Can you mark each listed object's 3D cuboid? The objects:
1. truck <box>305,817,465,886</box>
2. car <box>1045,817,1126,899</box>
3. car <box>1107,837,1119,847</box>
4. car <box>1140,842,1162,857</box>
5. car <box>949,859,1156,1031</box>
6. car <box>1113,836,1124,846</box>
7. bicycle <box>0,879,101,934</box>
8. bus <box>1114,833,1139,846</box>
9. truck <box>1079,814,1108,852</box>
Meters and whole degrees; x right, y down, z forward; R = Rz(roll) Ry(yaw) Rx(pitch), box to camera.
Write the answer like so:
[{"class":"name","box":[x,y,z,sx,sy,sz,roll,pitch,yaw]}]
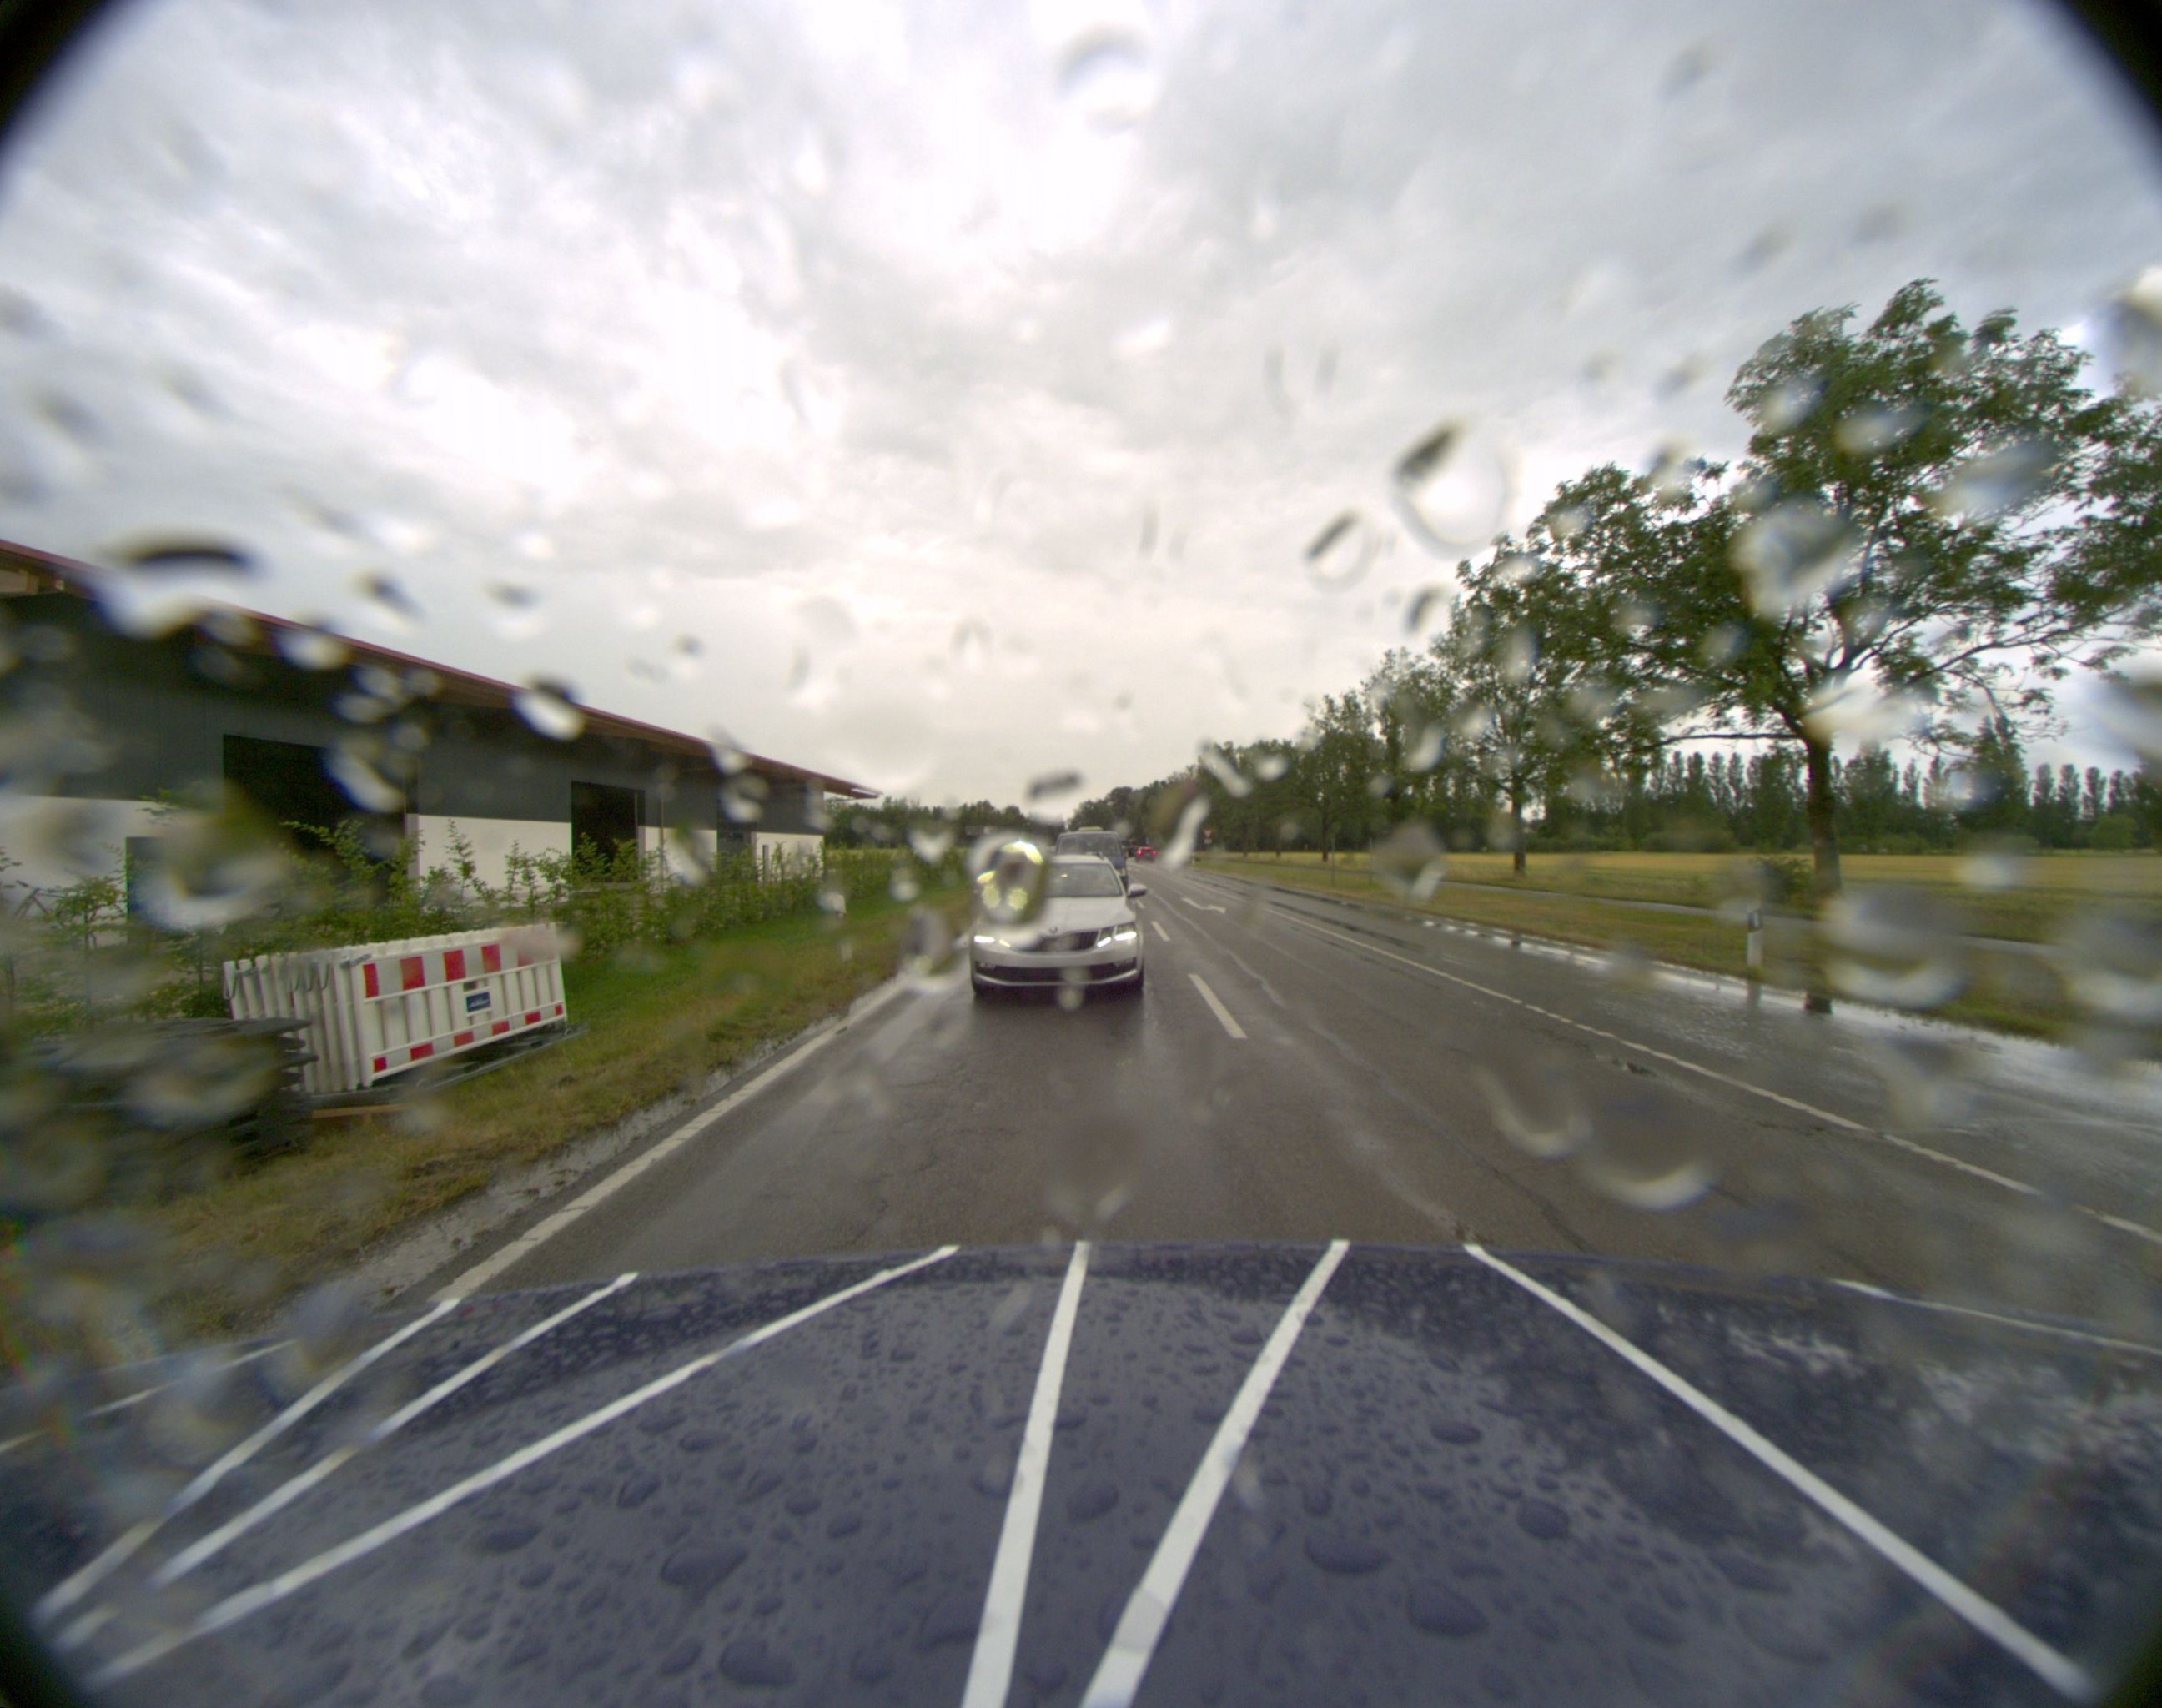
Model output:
[{"class":"truck","box":[-32.551,-0.172,35.859,2.496,2.996,5.343,0,1,1]},{"class":"car","box":[0.137,0.056,19.927,1.892,1.939,3.999,0,1,1]},{"class":"car","box":[5.901,-2.187,139.431,1.921,1.851,4.683,1,2,0]},{"class":"car","box":[6.676,-0.452,72.820,1.724,1.396,4.042,1,1,0]},{"class":"car","box":[-0.228,0.854,9.263,1.843,1.379,4.568,-2,2,1]},{"class":"car","box":[6.304,-2.148,127.365,1.708,1.662,4.155,2,1,2]},{"class":"bicycle","box":[-23.194,1.148,16.980,0.391,1.066,1.660,0,1,1]},{"class":"bus","box":[10.892,-3.529,179.982,2.954,2.895,12.489,1,2,17]},{"class":"truck","box":[1.369,-2.274,83.751,2.931,3.829,14.117,0,1,1]}]
